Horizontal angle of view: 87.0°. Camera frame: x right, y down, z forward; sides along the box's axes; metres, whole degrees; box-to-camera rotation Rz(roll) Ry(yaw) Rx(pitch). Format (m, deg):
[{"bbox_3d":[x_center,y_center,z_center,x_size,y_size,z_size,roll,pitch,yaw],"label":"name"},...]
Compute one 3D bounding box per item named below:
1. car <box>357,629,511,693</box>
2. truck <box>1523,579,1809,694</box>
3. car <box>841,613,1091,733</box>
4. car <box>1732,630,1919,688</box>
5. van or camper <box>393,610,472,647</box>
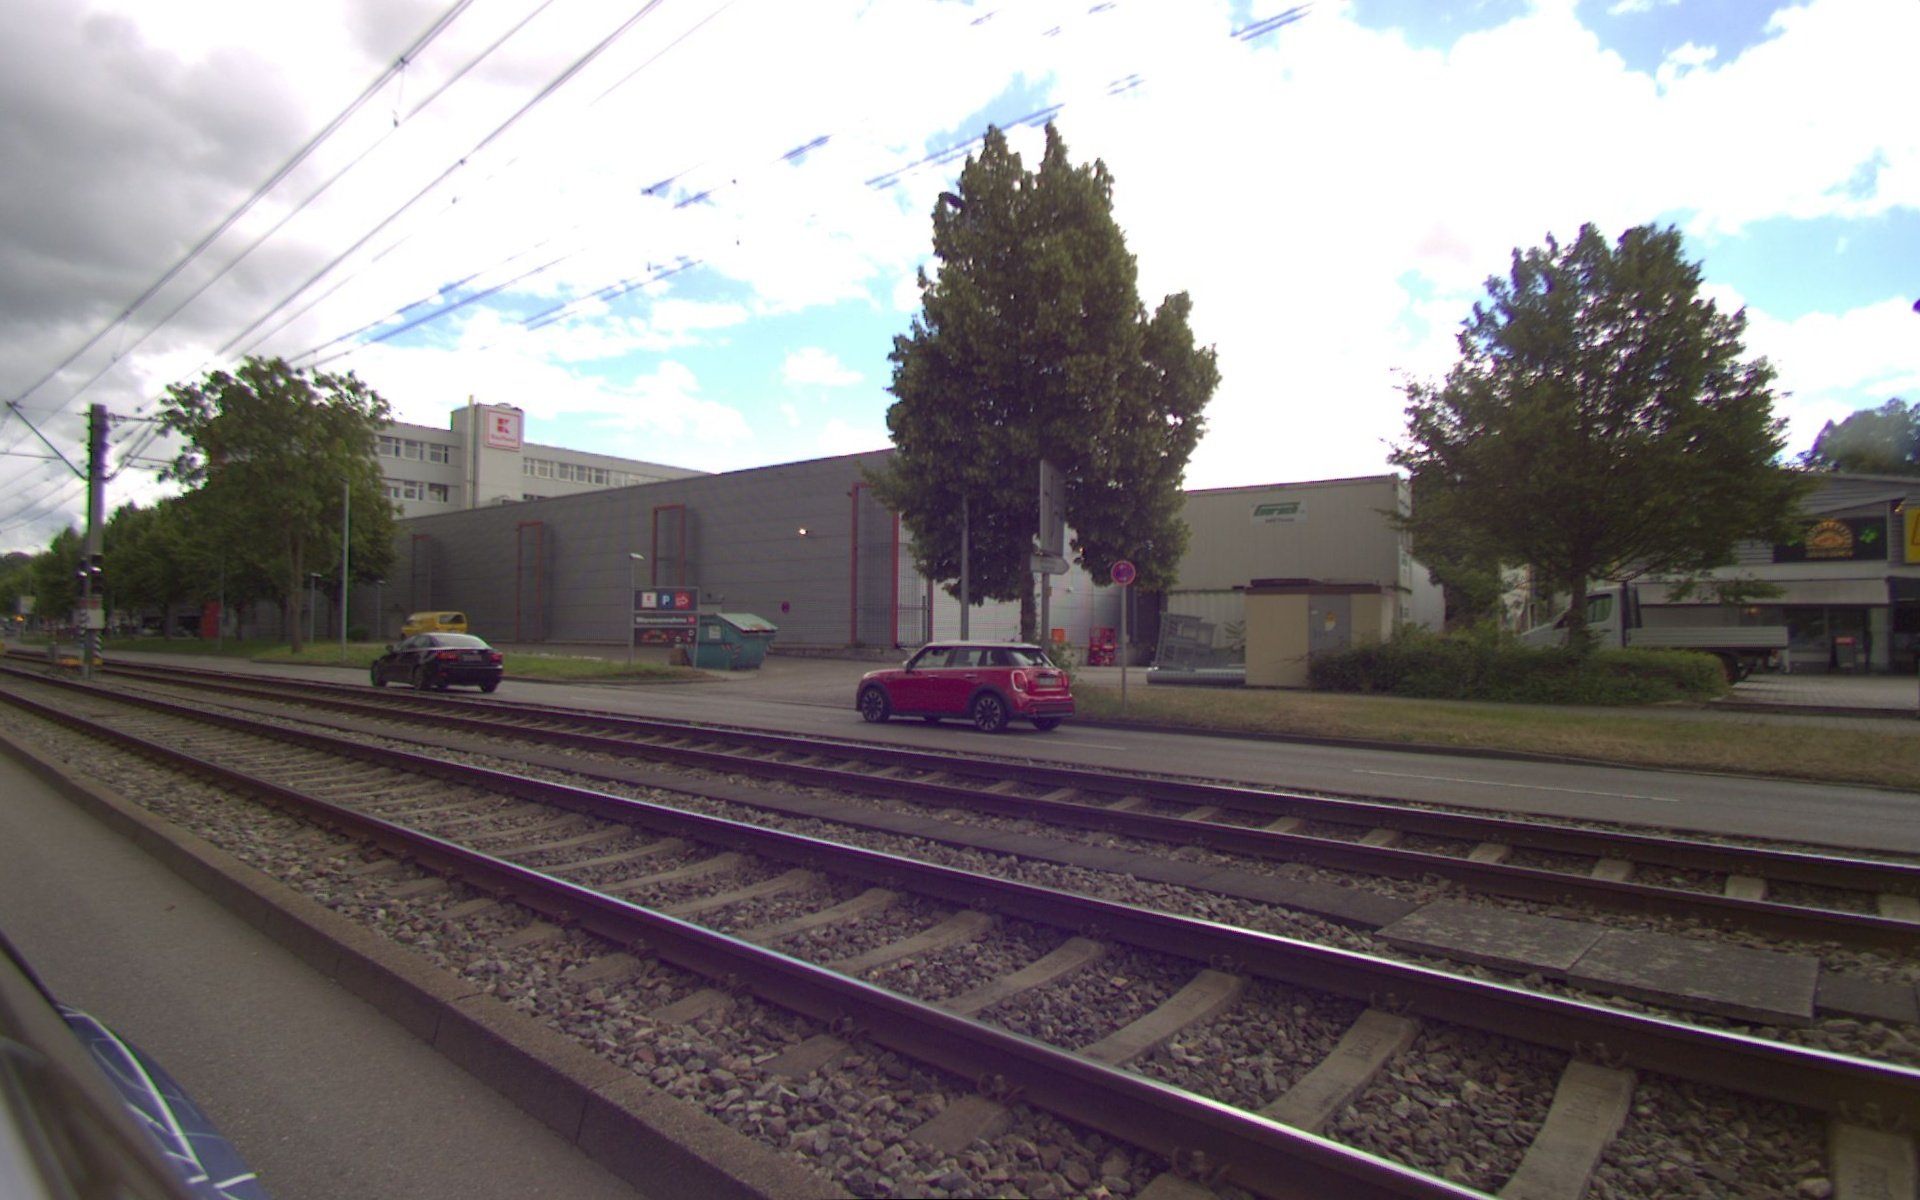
[{"bbox_3d":[-12.900,1.472,24.720,4.440,1.412,1.741,-2,-5,40],"label":"car"},{"bbox_3d":[16.344,0.852,23.645,5.262,2.401,1.972,-2,-3,41],"label":"truck"},{"bbox_3d":[0.023,1.148,16.991,3.996,1.785,1.774,-2,-3,40],"label":"car"},{"bbox_3d":[23.224,1.529,27.076,3.991,1.411,1.596,-1,-1,36],"label":"car"},{"bbox_3d":[-30.242,1.641,57.957,5.235,2.029,2.083,-2,-2,38],"label":"van or camper"}]
